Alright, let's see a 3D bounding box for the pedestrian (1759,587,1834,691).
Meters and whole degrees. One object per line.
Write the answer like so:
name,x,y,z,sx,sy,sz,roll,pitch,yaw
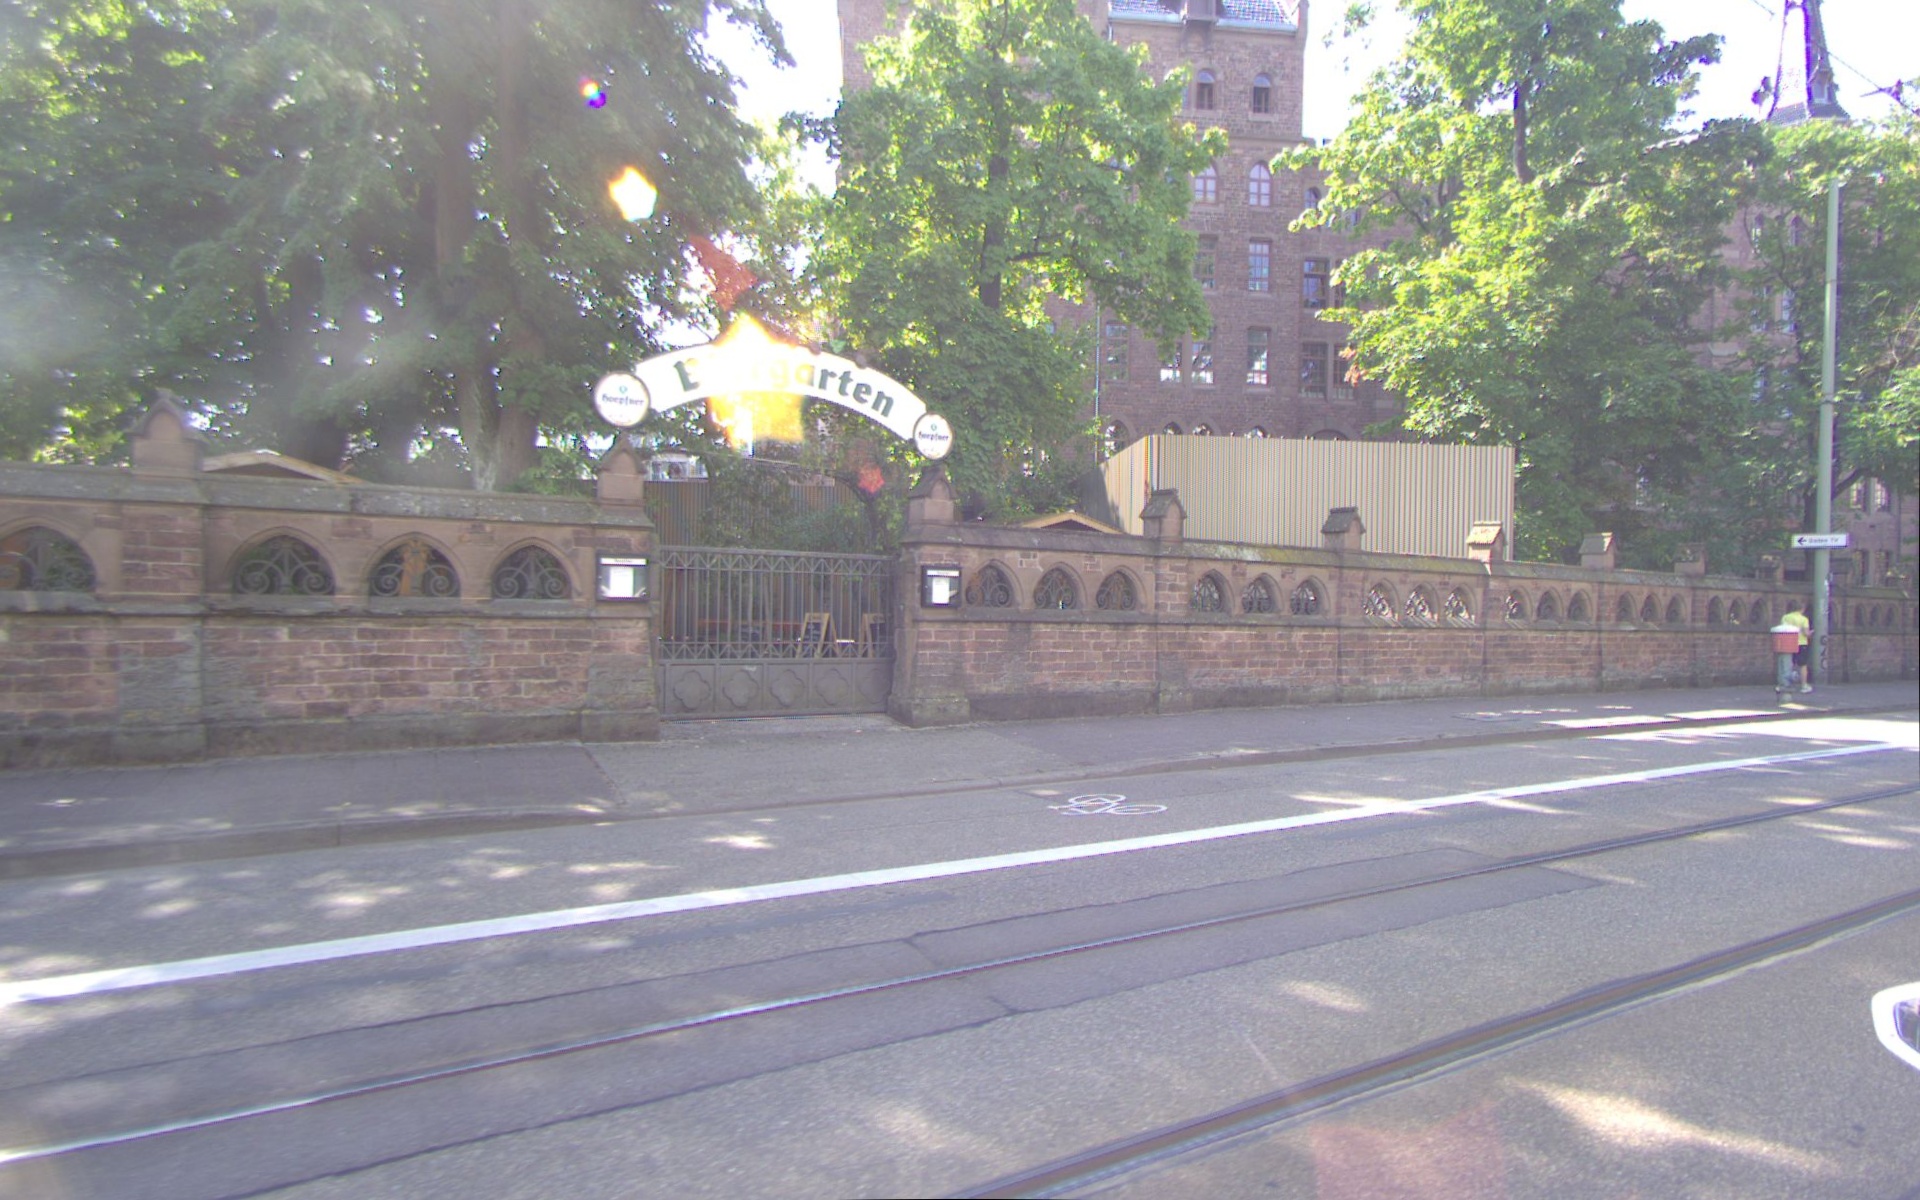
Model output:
pedestrian,16.901,0.769,20.297,0.972,2.040,0.859,1,0,-31
